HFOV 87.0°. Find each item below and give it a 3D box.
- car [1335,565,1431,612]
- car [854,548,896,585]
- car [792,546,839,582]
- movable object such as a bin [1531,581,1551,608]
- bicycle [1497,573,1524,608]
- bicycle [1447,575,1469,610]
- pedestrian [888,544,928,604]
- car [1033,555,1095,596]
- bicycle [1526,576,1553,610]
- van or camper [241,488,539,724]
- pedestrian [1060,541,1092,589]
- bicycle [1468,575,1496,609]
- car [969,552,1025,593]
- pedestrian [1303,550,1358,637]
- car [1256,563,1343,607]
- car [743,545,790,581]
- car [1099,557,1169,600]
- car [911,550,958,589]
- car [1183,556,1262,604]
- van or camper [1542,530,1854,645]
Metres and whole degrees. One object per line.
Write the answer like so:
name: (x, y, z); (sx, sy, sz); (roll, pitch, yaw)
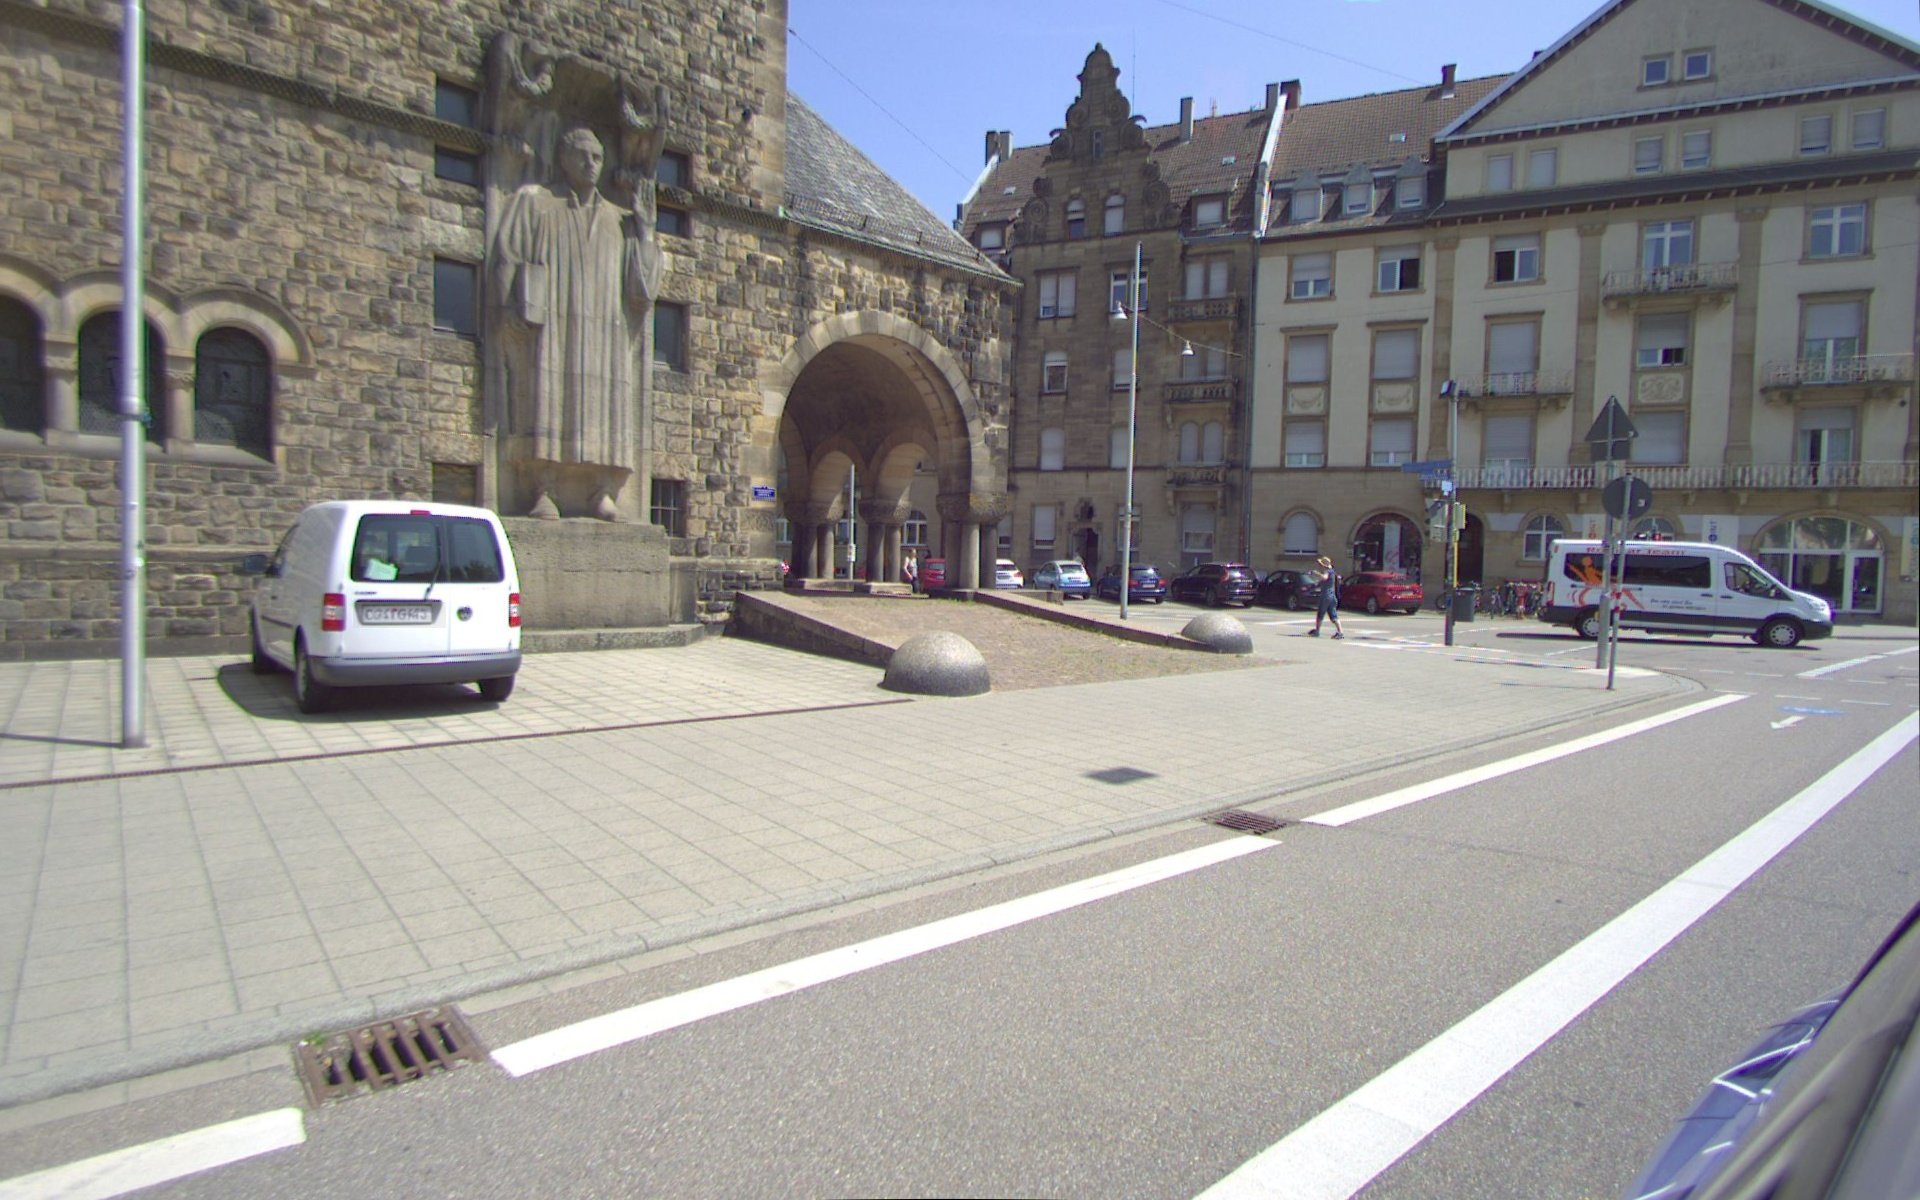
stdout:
car: (15.446, -0.466, 37.118); (1.583, 1.496, 3.235); (-1, 4, -15)
car: (-3.927, -1.562, 46.241); (1.583, 1.593, 3.235); (-1, 4, -10)
car: (-6.860, -1.748, 47.949); (1.583, 1.593, 3.235); (-2, 4, -19)
movable object such as a bin: (22.335, -0.232, 38.903); (0.586, 1.007, 0.576); (2, 2, 33)
bicycle: (19.889, -0.362, 36.548); (0.562, 1.165, 1.781); (2, 4, 38)
bicycle: (17.886, -0.282, 36.354); (0.560, 1.165, 1.787); (2, 3, 30)
pedestrian: (-1.401, -0.711, 27.147); (0.789, 1.578, 0.710); (2, 2, 43)
car: (4.371, -1.077, 42.852); (1.583, 1.593, 3.235); (-1, 4, -15)
bicycle: (20.833, -0.265, 36.396); (0.562, 1.165, 1.781); (2, 4, 38)
van or camper: (-5.771, -0.112, 9.997); (1.772, 1.847, 3.996); (-1, 5, -42)
pedestrian: (5.228, -1.573, 45.676); (0.850, 2.139, 1.102); (1, 2, -34)
bicycle: (18.822, -0.304, 36.475); (0.562, 1.165, 1.781); (2, 4, 38)
car: (1.549, -1.221, 43.688); (1.583, 1.593, 3.235); (-1, 4, -14)
pedestrian: (8.060, -0.164, 22.012); (0.817, 1.845, 0.745); (0, 2, -33)
car: (12.856, -0.612, 38.494); (1.583, 1.496, 3.235); (-1, 4, -15)
car: (-9.377, -1.831, 48.931); (1.465, 1.593, 3.234); (-2, 4, -25)
car: (7.036, -0.918, 41.145); (1.583, 1.593, 3.235); (-1, 4, -15)
car: (-1.167, -1.402, 45.125); (1.583, 1.593, 3.235); (-1, 4, -10)
car: (10.211, -0.814, 39.599); (1.583, 1.685, 3.235); (-1, 4, -15)
van or camper: (17.775, -0.393, 24.885); (5.852, 2.491, 2.052); (3, 2, 29)
